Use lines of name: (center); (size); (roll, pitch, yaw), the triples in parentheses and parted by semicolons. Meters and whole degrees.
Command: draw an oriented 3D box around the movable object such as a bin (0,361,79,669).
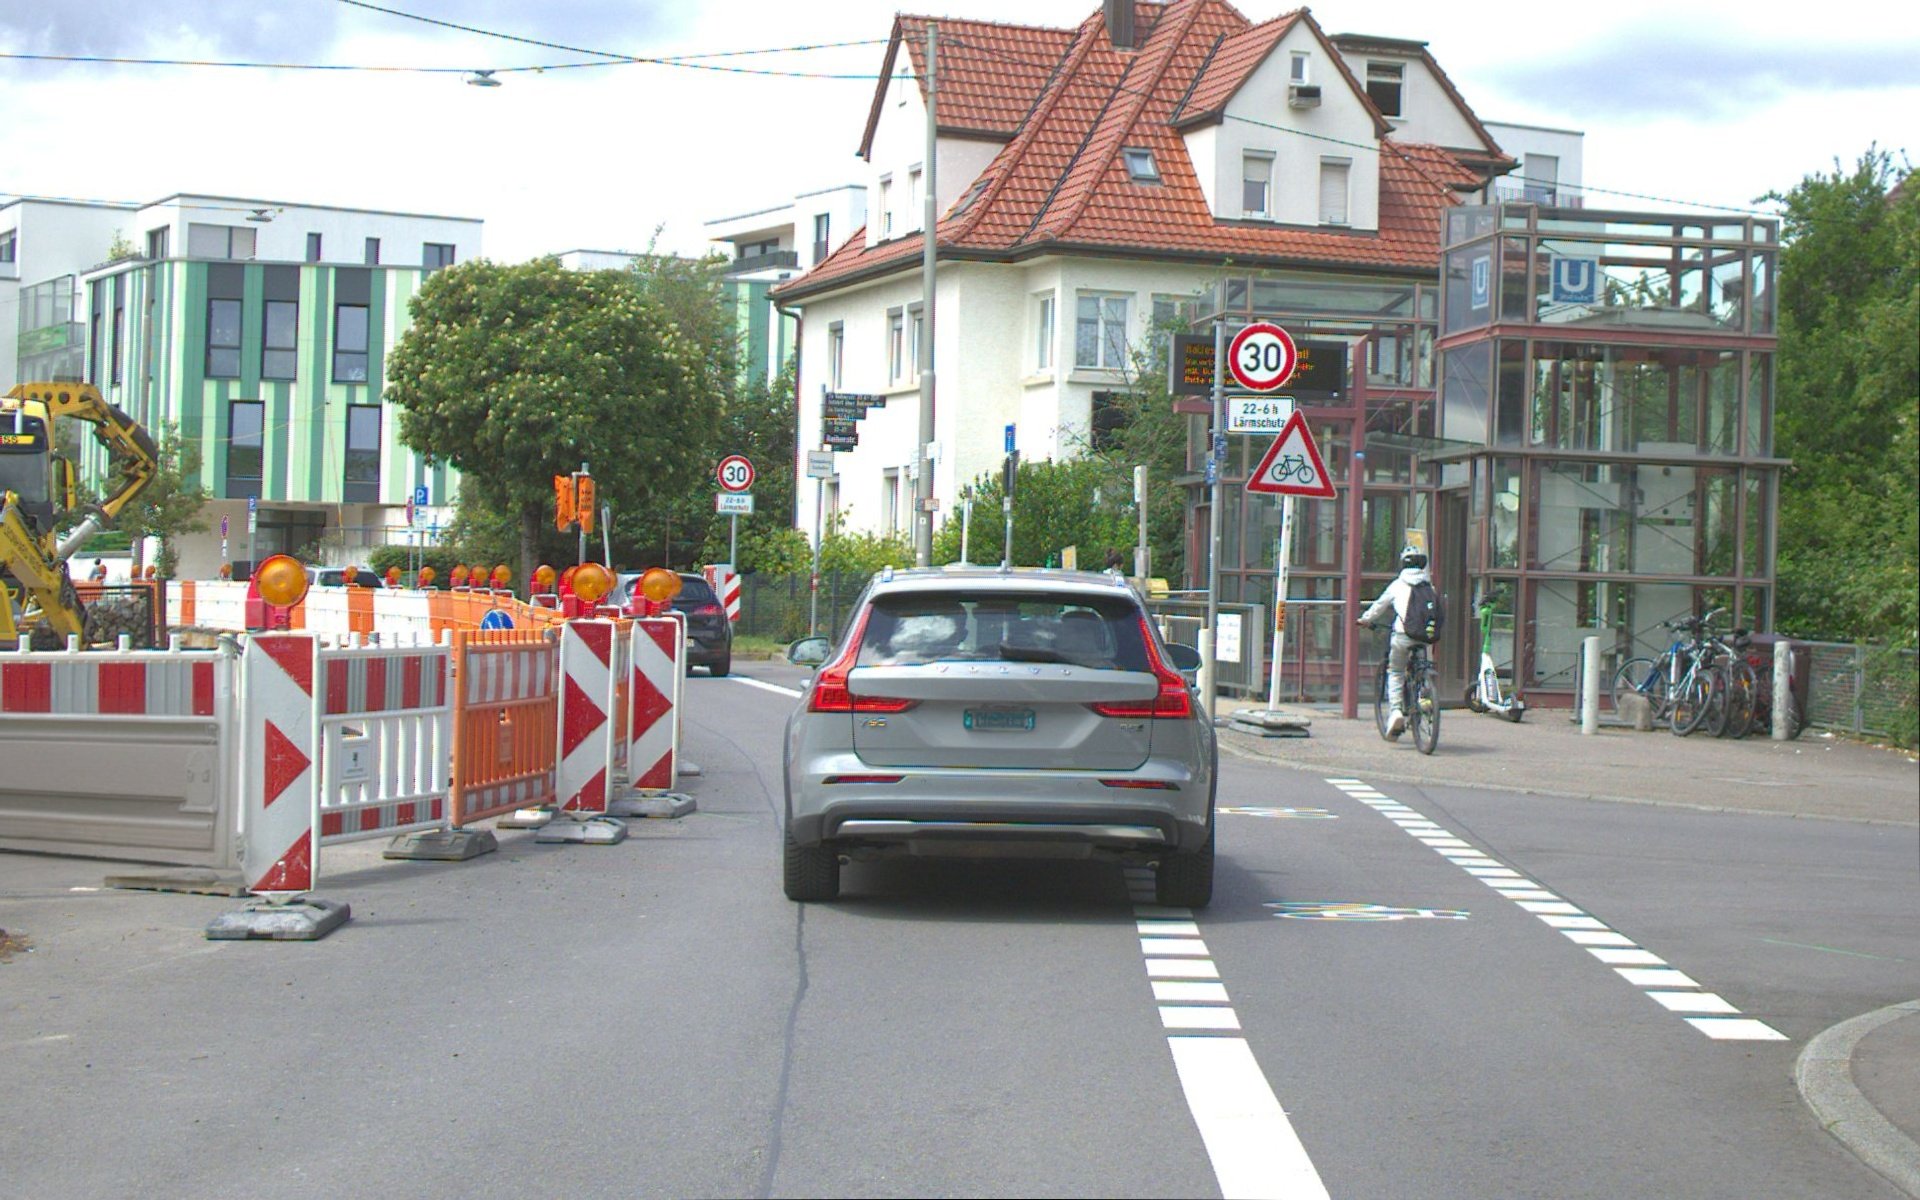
movable object such as a bin: (-14.792, -1.221, 52.335); (2.590, 4.207, 11.124); (1, 0, -15)

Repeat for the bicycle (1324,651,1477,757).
bicycle: (3.590, 0.840, 28.206); (0.635, 0.751, 2.063); (2, 1, -10)

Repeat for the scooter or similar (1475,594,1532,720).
scooter or similar: (5.112, 0.532, 32.347); (0.215, 1.108, 0.947); (1, 3, -9)

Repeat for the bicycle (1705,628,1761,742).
bicycle: (7.051, 0.765, 31.386); (0.215, 1.005, 1.189); (1, 0, 0)

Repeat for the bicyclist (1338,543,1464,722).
bicyclist: (3.603, 0.251, 28.164); (0.656, 1.411, 1.179); (2, 1, -10)

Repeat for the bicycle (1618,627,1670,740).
bicycle: (6.238, 0.752, 31.380); (0.215, 0.985, 1.204); (1, 0, 0)

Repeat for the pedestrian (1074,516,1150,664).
pedestrian: (1.696, -0.111, 38.334); (0.597, 1.577, 0.401); (7, -3, -10)

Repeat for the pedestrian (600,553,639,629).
pedestrian: (-6.900, -0.184, 69.659); (0.634, 1.534, 0.522); (1, 0, -27)

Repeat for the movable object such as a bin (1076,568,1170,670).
movable object such as a bin: (2.459, 0.283, 51.874); (1.268, 1.465, 1.004); (2, 0, -3)

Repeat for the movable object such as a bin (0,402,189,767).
movable object such as a bin: (-7.908, -0.145, 27.607); (1.993, 2.617, 6.522); (1, 0, 0)

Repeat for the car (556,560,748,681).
car: (-4.258, 0.268, 46.978); (1.854, 1.508, 4.001); (3, 0, -16)

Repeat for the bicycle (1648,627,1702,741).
bicycle: (6.519, 0.758, 31.375); (0.215, 0.997, 1.207); (1, 0, 0)

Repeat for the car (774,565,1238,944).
car: (0.080, 0.606, 15.827); (1.854, 1.508, 4.000); (1, 0, -3)

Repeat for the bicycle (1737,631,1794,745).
bicycle: (7.348, 0.794, 31.380); (0.215, 1.005, 1.189); (1, 0, 0)

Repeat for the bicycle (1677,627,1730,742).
bicycle: (6.785, 0.759, 31.401); (0.215, 1.010, 1.169); (1, 0, 0)
